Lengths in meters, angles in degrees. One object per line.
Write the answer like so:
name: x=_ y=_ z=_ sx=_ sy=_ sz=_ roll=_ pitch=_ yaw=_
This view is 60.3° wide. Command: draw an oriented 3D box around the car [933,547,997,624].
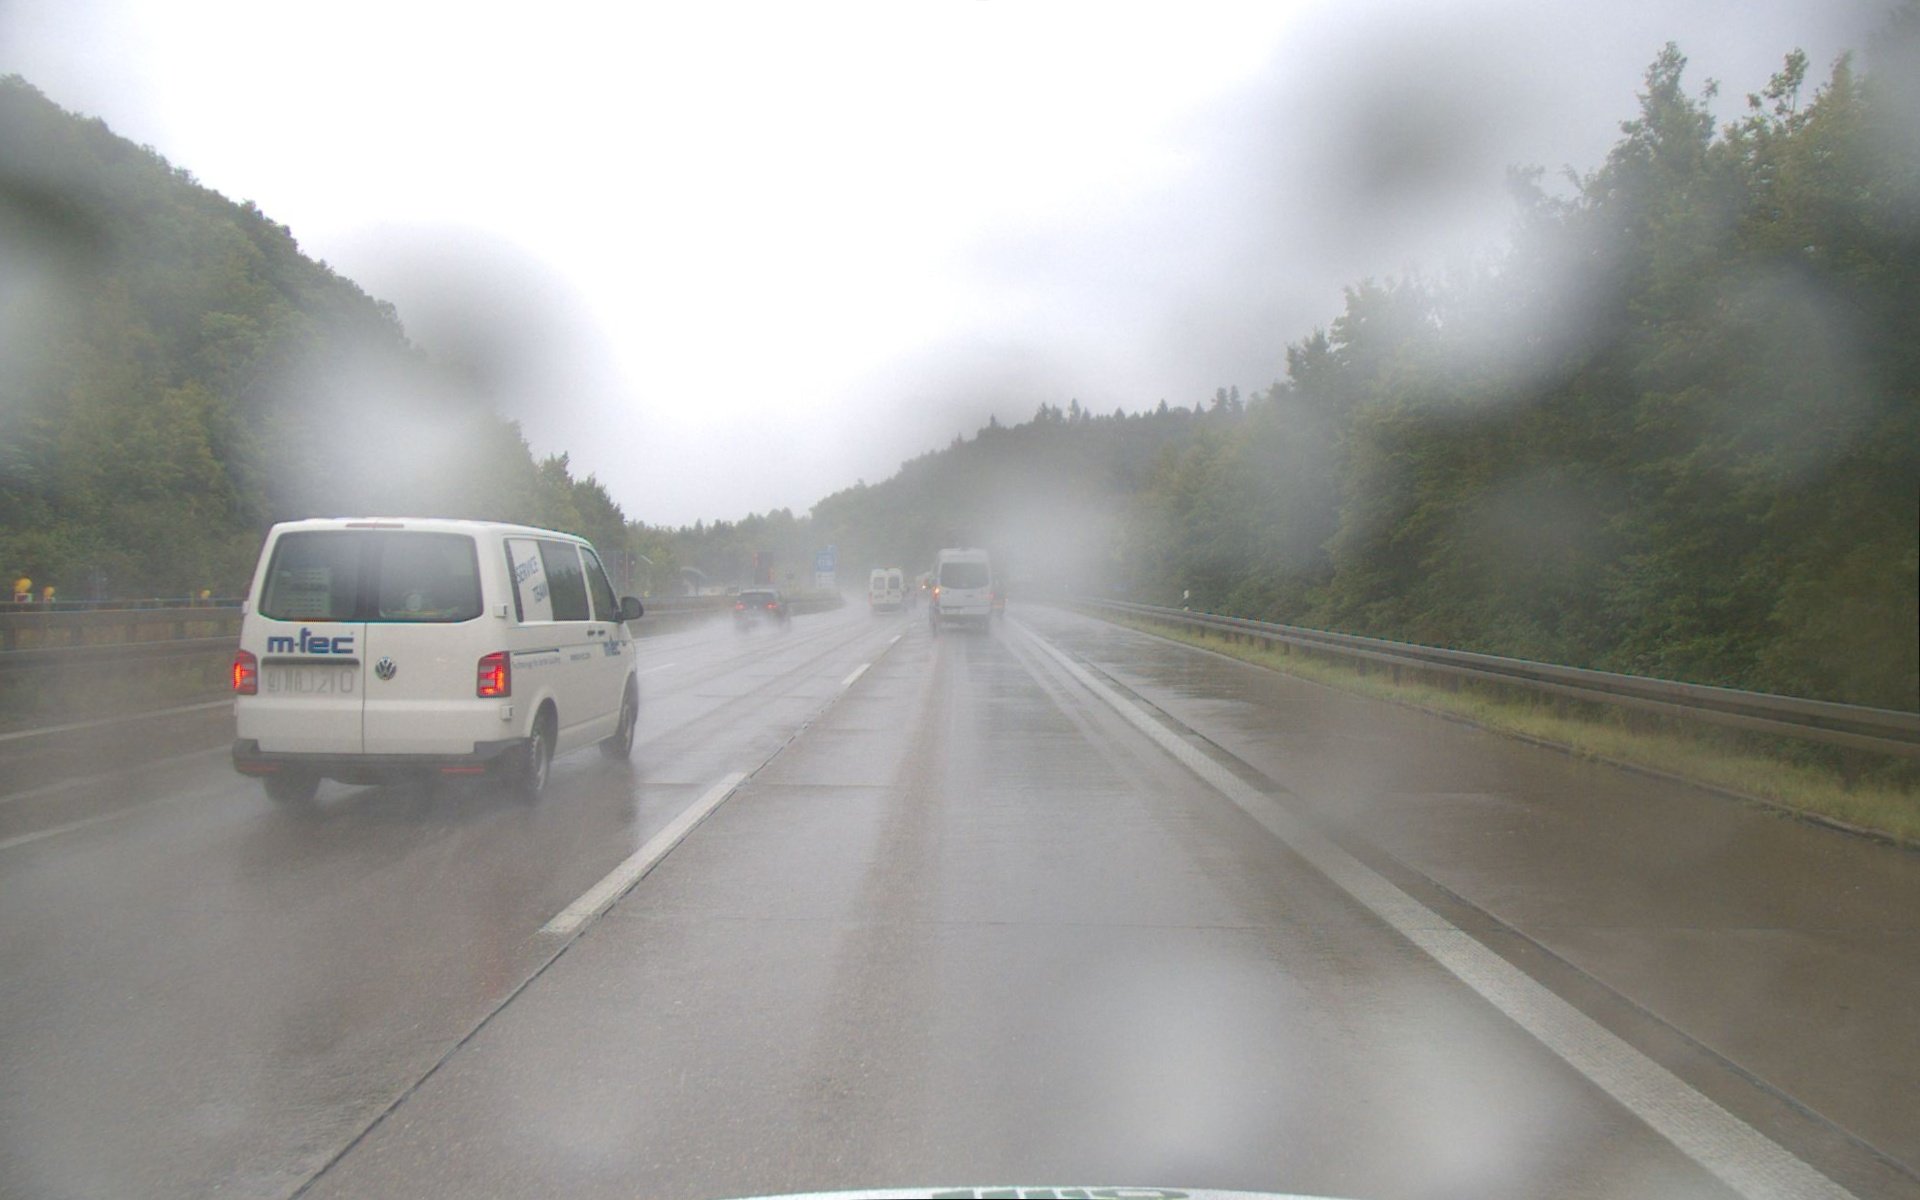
car: x=0.119 y=-0.485 z=55.189 sx=1.861 sy=2.374 sz=5.249 roll=3 pitch=0 yaw=-2

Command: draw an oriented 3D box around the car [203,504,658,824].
car: x=-3.682 y=0.375 z=12.592 sx=1.861 sy=1.927 sz=5.042 roll=1 pitch=0 yaw=0

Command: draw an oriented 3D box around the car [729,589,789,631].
car: x=-7.027 y=0.338 z=58.041 sx=1.705 sy=1.412 sz=4.320 roll=0 pitch=0 yaw=-2

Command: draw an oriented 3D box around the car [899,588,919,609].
car: x=-4.866 y=-0.170 z=158.326 sx=1.831 sy=1.841 sz=4.187 roll=3 pitch=0 yaw=-2

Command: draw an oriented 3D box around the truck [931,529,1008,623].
truck: x=0.354 y=-1.218 z=75.837 sx=3.316 sy=4.037 sz=8.667 roll=0 pitch=2 yaw=-1

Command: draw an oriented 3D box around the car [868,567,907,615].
car: x=-3.951 y=-0.492 z=90.611 sx=1.957 sy=2.474 sz=5.789 roll=3 pitch=0 yaw=-2
